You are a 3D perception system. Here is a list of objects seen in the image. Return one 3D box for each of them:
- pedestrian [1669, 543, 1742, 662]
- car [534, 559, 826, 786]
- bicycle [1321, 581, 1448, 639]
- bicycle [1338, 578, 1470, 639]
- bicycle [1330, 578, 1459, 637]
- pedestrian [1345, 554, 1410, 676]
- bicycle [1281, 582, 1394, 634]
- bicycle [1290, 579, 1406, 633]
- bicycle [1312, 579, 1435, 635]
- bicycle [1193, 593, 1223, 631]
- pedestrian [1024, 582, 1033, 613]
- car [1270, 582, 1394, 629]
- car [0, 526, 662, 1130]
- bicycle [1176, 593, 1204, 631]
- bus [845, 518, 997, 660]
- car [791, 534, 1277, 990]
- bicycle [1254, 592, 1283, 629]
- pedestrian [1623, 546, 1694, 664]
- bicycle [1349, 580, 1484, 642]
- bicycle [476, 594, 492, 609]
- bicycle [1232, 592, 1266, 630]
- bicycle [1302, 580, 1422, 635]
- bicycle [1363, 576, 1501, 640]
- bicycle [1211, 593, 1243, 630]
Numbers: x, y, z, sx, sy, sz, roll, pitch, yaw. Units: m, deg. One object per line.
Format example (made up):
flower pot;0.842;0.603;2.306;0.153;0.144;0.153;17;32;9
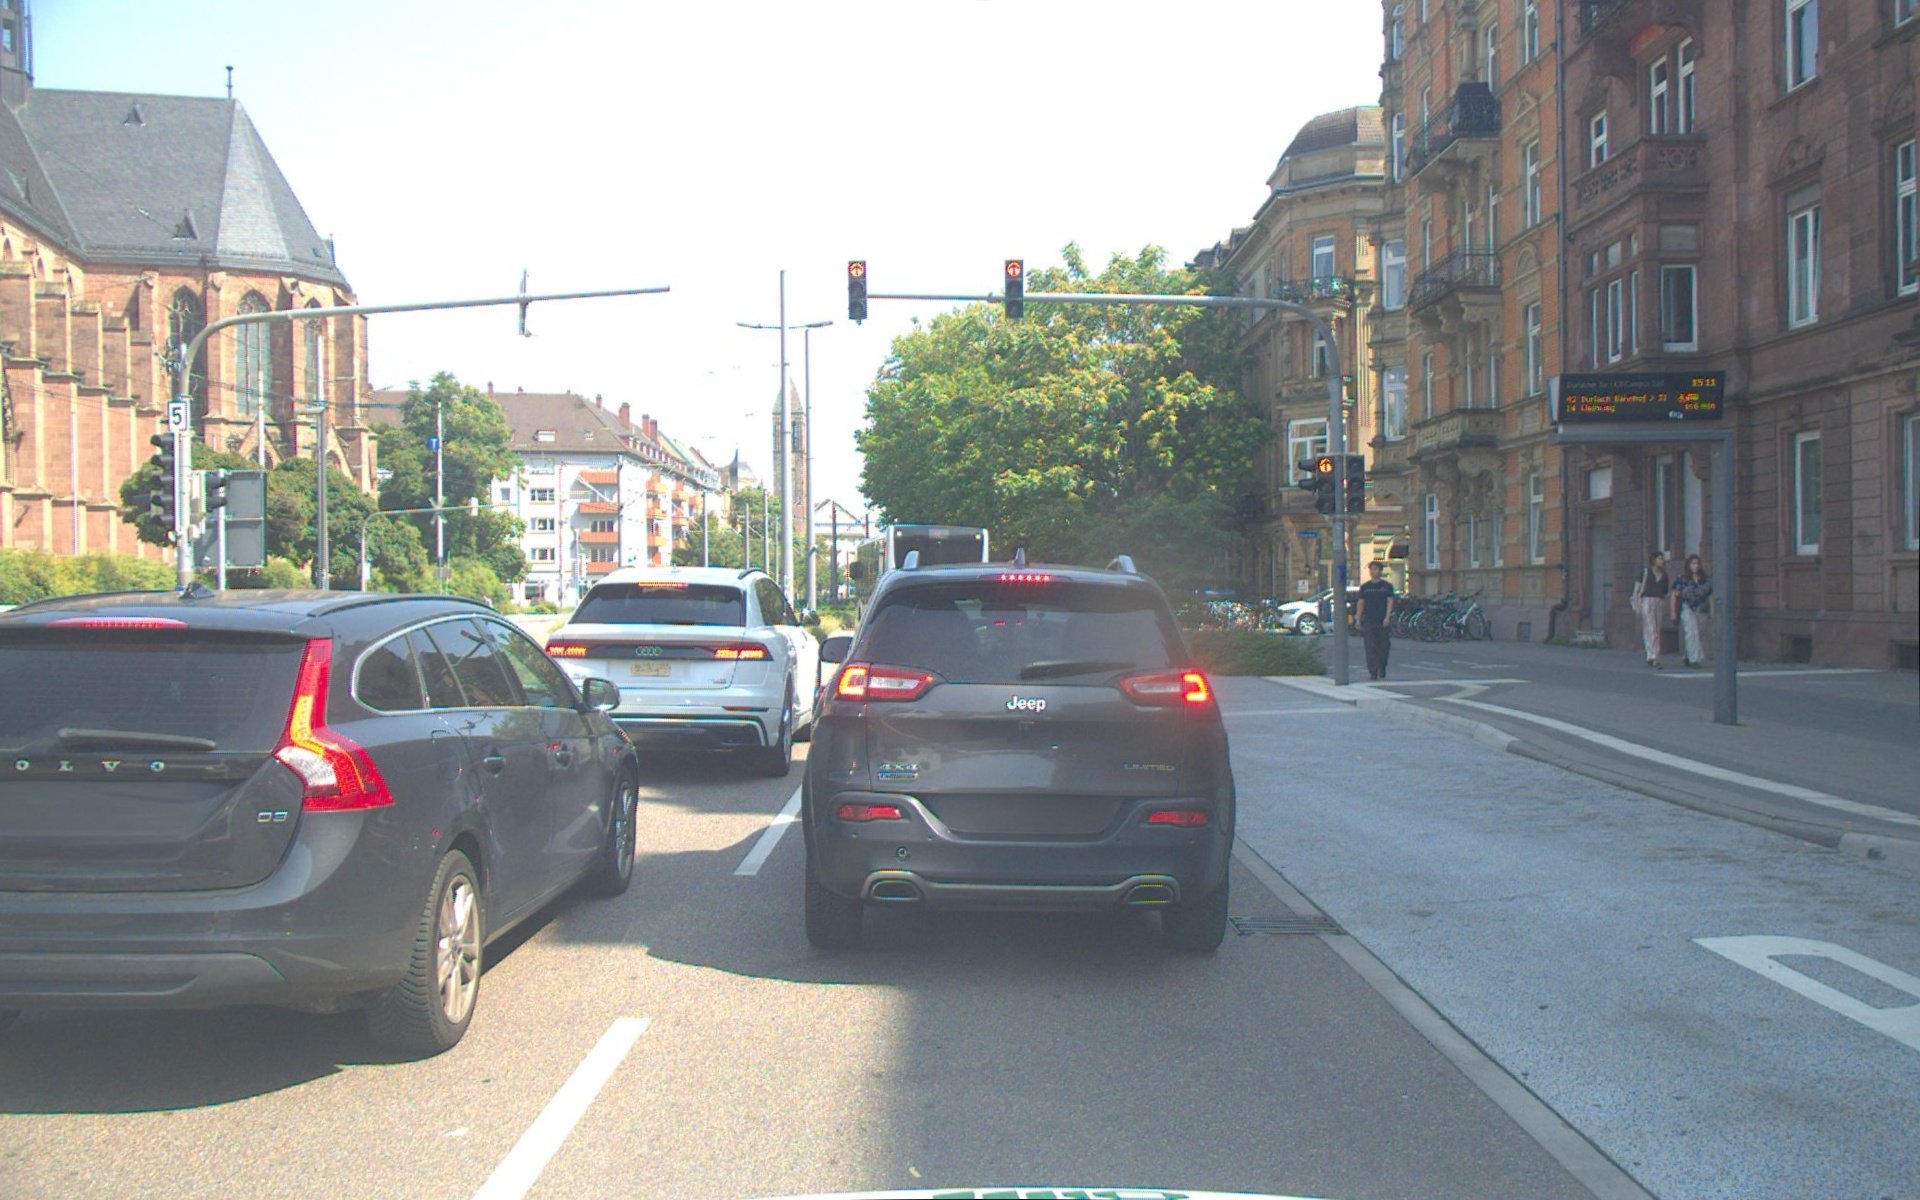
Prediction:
pedestrian;11.566;0.041;25.687;0.700;1.809;0.870;-1;0;-2
car;-2.262;0.523;14.476;1.863;1.680;4.308;0;0;-1
bicycle;10.722;0.255;41.869;2.943;1.397;0.947;-1;-1;-2
bicycle;10.724;0.203;39.978;2.933;1.395;0.871;-1;0;-2
bicycle;10.734;0.188;40.926;2.933;1.395;0.871;-1;0;-2
pedestrian;6.288;0.220;24.901;0.879;1.771;0.769;-2;0;15
bicycle;10.556;0.217;46.331;2.943;1.397;0.947;-1;0;-2
bicycle;10.610;0.166;45.290;2.943;1.397;0.947;-1;0;-2
bicycle;10.717;0.172;42.964;2.943;1.397;0.947;-1;0;-2
bicycle;8.773;0.401;58.578;0.636;1.275;3.014;-1;0;1
pedestrian;4.576;-0.174;110.482;0.518;2.049;0.532;-1;0;-3
car;12.945;0.187;57.672;3.858;1.547;1.680;-1;0;-8
car;-2.431;0.606;6.663;1.712;1.642;4.308;1;0;-1
bicycle;8.126;0.415;58.593;0.636;1.275;3.014;-1;0;1
bus;-1.311;-0.233;44.474;2.692;3.161;11.935;-3;0;-7
car;0.292;0.590;8.330;1.795;1.680;4.308;1;0;0
bicycle;11.014;0.361;59.059;0.644;1.271;2.413;-1;0;2
pedestrian;10.841;0.074;25.687;0.700;1.807;0.847;-1;0;-2
bicycle;10.777;0.261;39.066;2.933;1.395;0.871;-1;0;-2
bicycle;-26.995;0.088;93.777;0.444;0.874;1.476;-1;0;2
bicycle;10.232;0.377;58.613;0.747;1.275;3.014;-1;0;2
bicycle;10.666;0.203;43.974;2.943;1.397;0.947;-1;0;-2
bicycle;10.880;0.185;38.162;2.933;1.395;0.871;-1;0;-2
bicycle;9.459;0.391;58.587;0.717;1.275;3.014;-1;0;2
